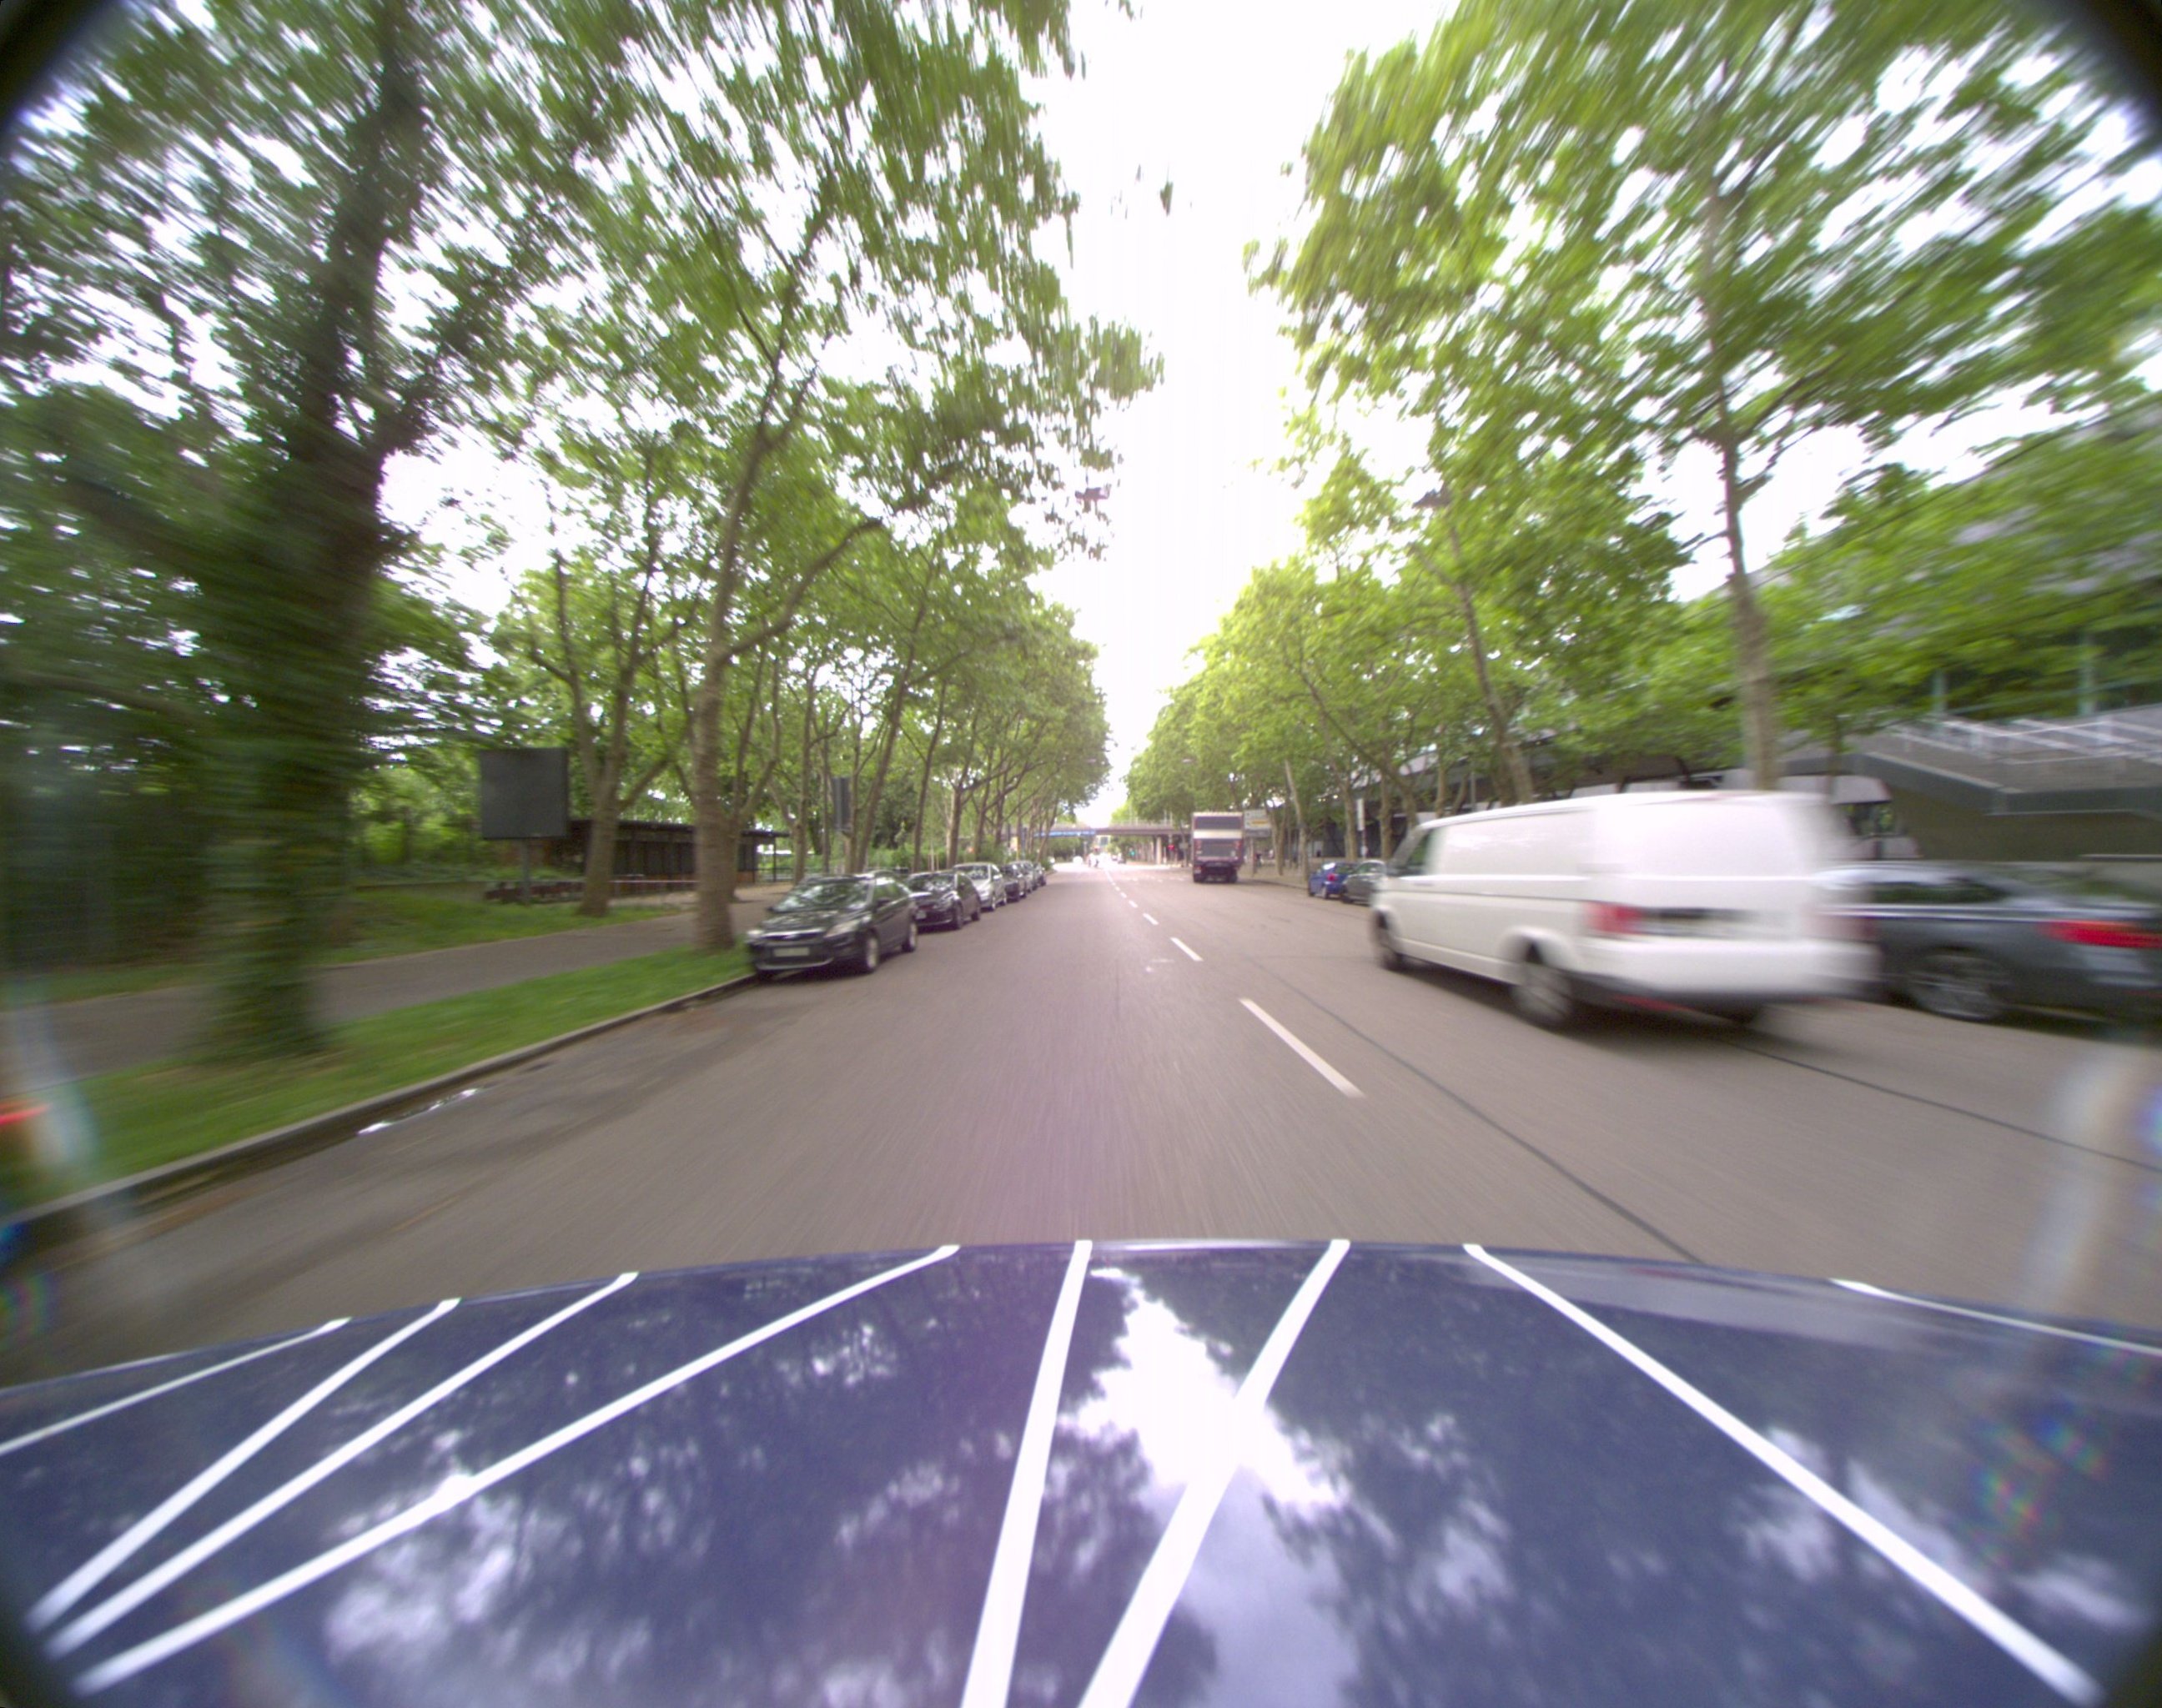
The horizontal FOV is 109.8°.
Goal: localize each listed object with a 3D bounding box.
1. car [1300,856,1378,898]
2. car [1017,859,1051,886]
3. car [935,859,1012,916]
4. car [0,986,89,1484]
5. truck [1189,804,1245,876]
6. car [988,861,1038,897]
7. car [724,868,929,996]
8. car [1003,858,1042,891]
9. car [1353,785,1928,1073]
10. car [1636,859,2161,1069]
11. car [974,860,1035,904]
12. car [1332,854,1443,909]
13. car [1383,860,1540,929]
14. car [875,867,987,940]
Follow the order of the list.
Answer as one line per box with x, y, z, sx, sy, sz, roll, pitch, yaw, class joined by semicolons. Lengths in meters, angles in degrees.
9.497;0.791;28.323;1.698;1.354;4.001;3;0;3;car
-2.883;1.088;47.004;1.734;1.460;4.079;-4;0;0;car
-3.541;1.052;25.707;1.783;1.608;4.225;-4;0;2;car
-4.112;1.180;0.257;1.780;1.410;4.287;-4;0;2;car
7.936;-0.821;45.157;2.915;3.846;9.471;0;1;8;truck
-3.162;1.141;36.001;1.734;1.413;4.080;-4;0;2;car
-3.906;1.111;12.555;1.781;1.544;4.396;-4;0;0;car
-3.118;1.048;40.987;1.734;1.560;4.079;-4;0;0;car
4.780;0.515;7.905;2.064;1.950;5.466;0;0;2;car
8.689;0.826;8.073;1.824;1.476;4.992;0;0;-2;car
-2.995;1.072;30.866;1.734;1.468;4.982;-4;0;2;car
9.383;0.798;23.595;1.699;1.470;3.649;2;0;-4;car
9.152;0.898;18.730;1.712;1.374;4.331;3;0;1;car
-3.665;1.163;19.299;1.743;1.462;4.152;-3;0;3;car
